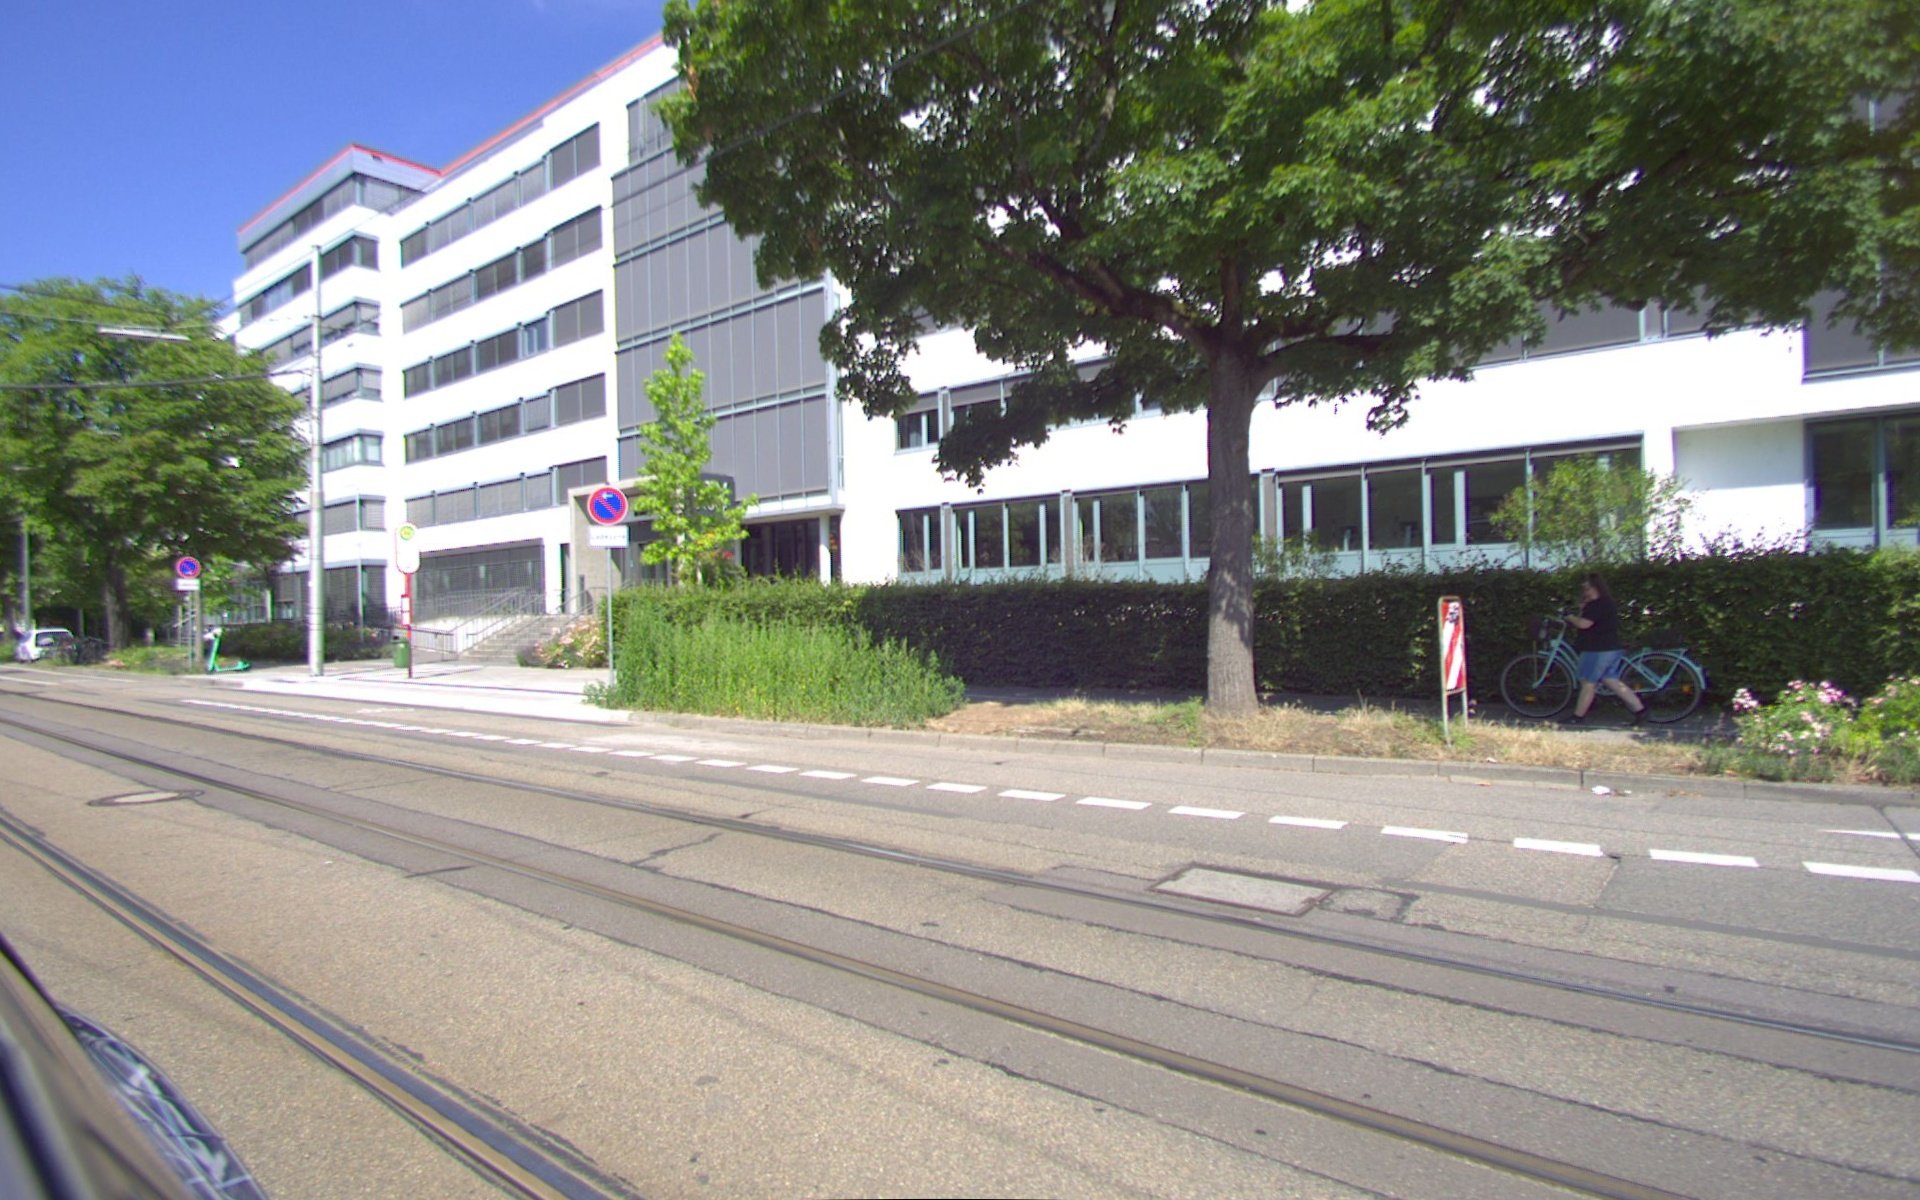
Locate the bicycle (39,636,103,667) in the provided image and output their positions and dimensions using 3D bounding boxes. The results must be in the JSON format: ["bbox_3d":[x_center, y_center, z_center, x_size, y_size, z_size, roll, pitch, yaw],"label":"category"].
[{"bbox_3d":[-35.694,2.063,40.661,0.679,1.140,1.831,-2,-1,38],"label":"bicycle"}]

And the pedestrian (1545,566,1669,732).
[{"bbox_3d":[6.487,0.463,10.158,0.986,1.575,0.680,-2,0,35],"label":"pedestrian"}]

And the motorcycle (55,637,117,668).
[{"bbox_3d":[-33.547,1.989,38.843,0.658,1.094,1.708,-2,-1,38],"label":"motorcycle"}]

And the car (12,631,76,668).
[{"bbox_3d":[-39.973,2.135,44.141,3.628,1.483,1.613,-1,-1,40],"label":"car"}]

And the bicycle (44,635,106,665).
[{"bbox_3d":[-35.267,1.978,40.351,0.725,1.094,1.775,-2,-1,38],"label":"bicycle"}]

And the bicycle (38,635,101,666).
[{"bbox_3d":[-36.183,2.029,41.137,0.685,1.150,1.854,-2,-1,38],"label":"bicycle"}]

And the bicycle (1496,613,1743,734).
[{"bbox_3d":[6.727,0.718,10.401,2.064,1.126,0.630,-2,-1,38],"label":"bicycle"}]

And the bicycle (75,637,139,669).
[{"bbox_3d":[-31.701,1.953,37.617,0.788,1.094,1.708,-2,-1,38],"label":"bicycle"}]

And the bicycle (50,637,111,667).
[{"bbox_3d":[-34.570,2.030,39.803,0.639,1.094,1.708,-2,-1,38],"label":"bicycle"}]

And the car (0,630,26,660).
[{"bbox_3d":[-49.519,2.294,51.928,4.265,1.494,1.615,-2,-1,37],"label":"car"}]

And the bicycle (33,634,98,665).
[{"bbox_3d":[-36.694,2.023,41.532,0.818,1.178,1.886,-2,-1,38],"label":"bicycle"}]

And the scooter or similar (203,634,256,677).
[{"bbox_3d":[-21.234,1.603,29.424,0.675,1.175,1.114,-2,-1,41],"label":"scooter or similar"}]
